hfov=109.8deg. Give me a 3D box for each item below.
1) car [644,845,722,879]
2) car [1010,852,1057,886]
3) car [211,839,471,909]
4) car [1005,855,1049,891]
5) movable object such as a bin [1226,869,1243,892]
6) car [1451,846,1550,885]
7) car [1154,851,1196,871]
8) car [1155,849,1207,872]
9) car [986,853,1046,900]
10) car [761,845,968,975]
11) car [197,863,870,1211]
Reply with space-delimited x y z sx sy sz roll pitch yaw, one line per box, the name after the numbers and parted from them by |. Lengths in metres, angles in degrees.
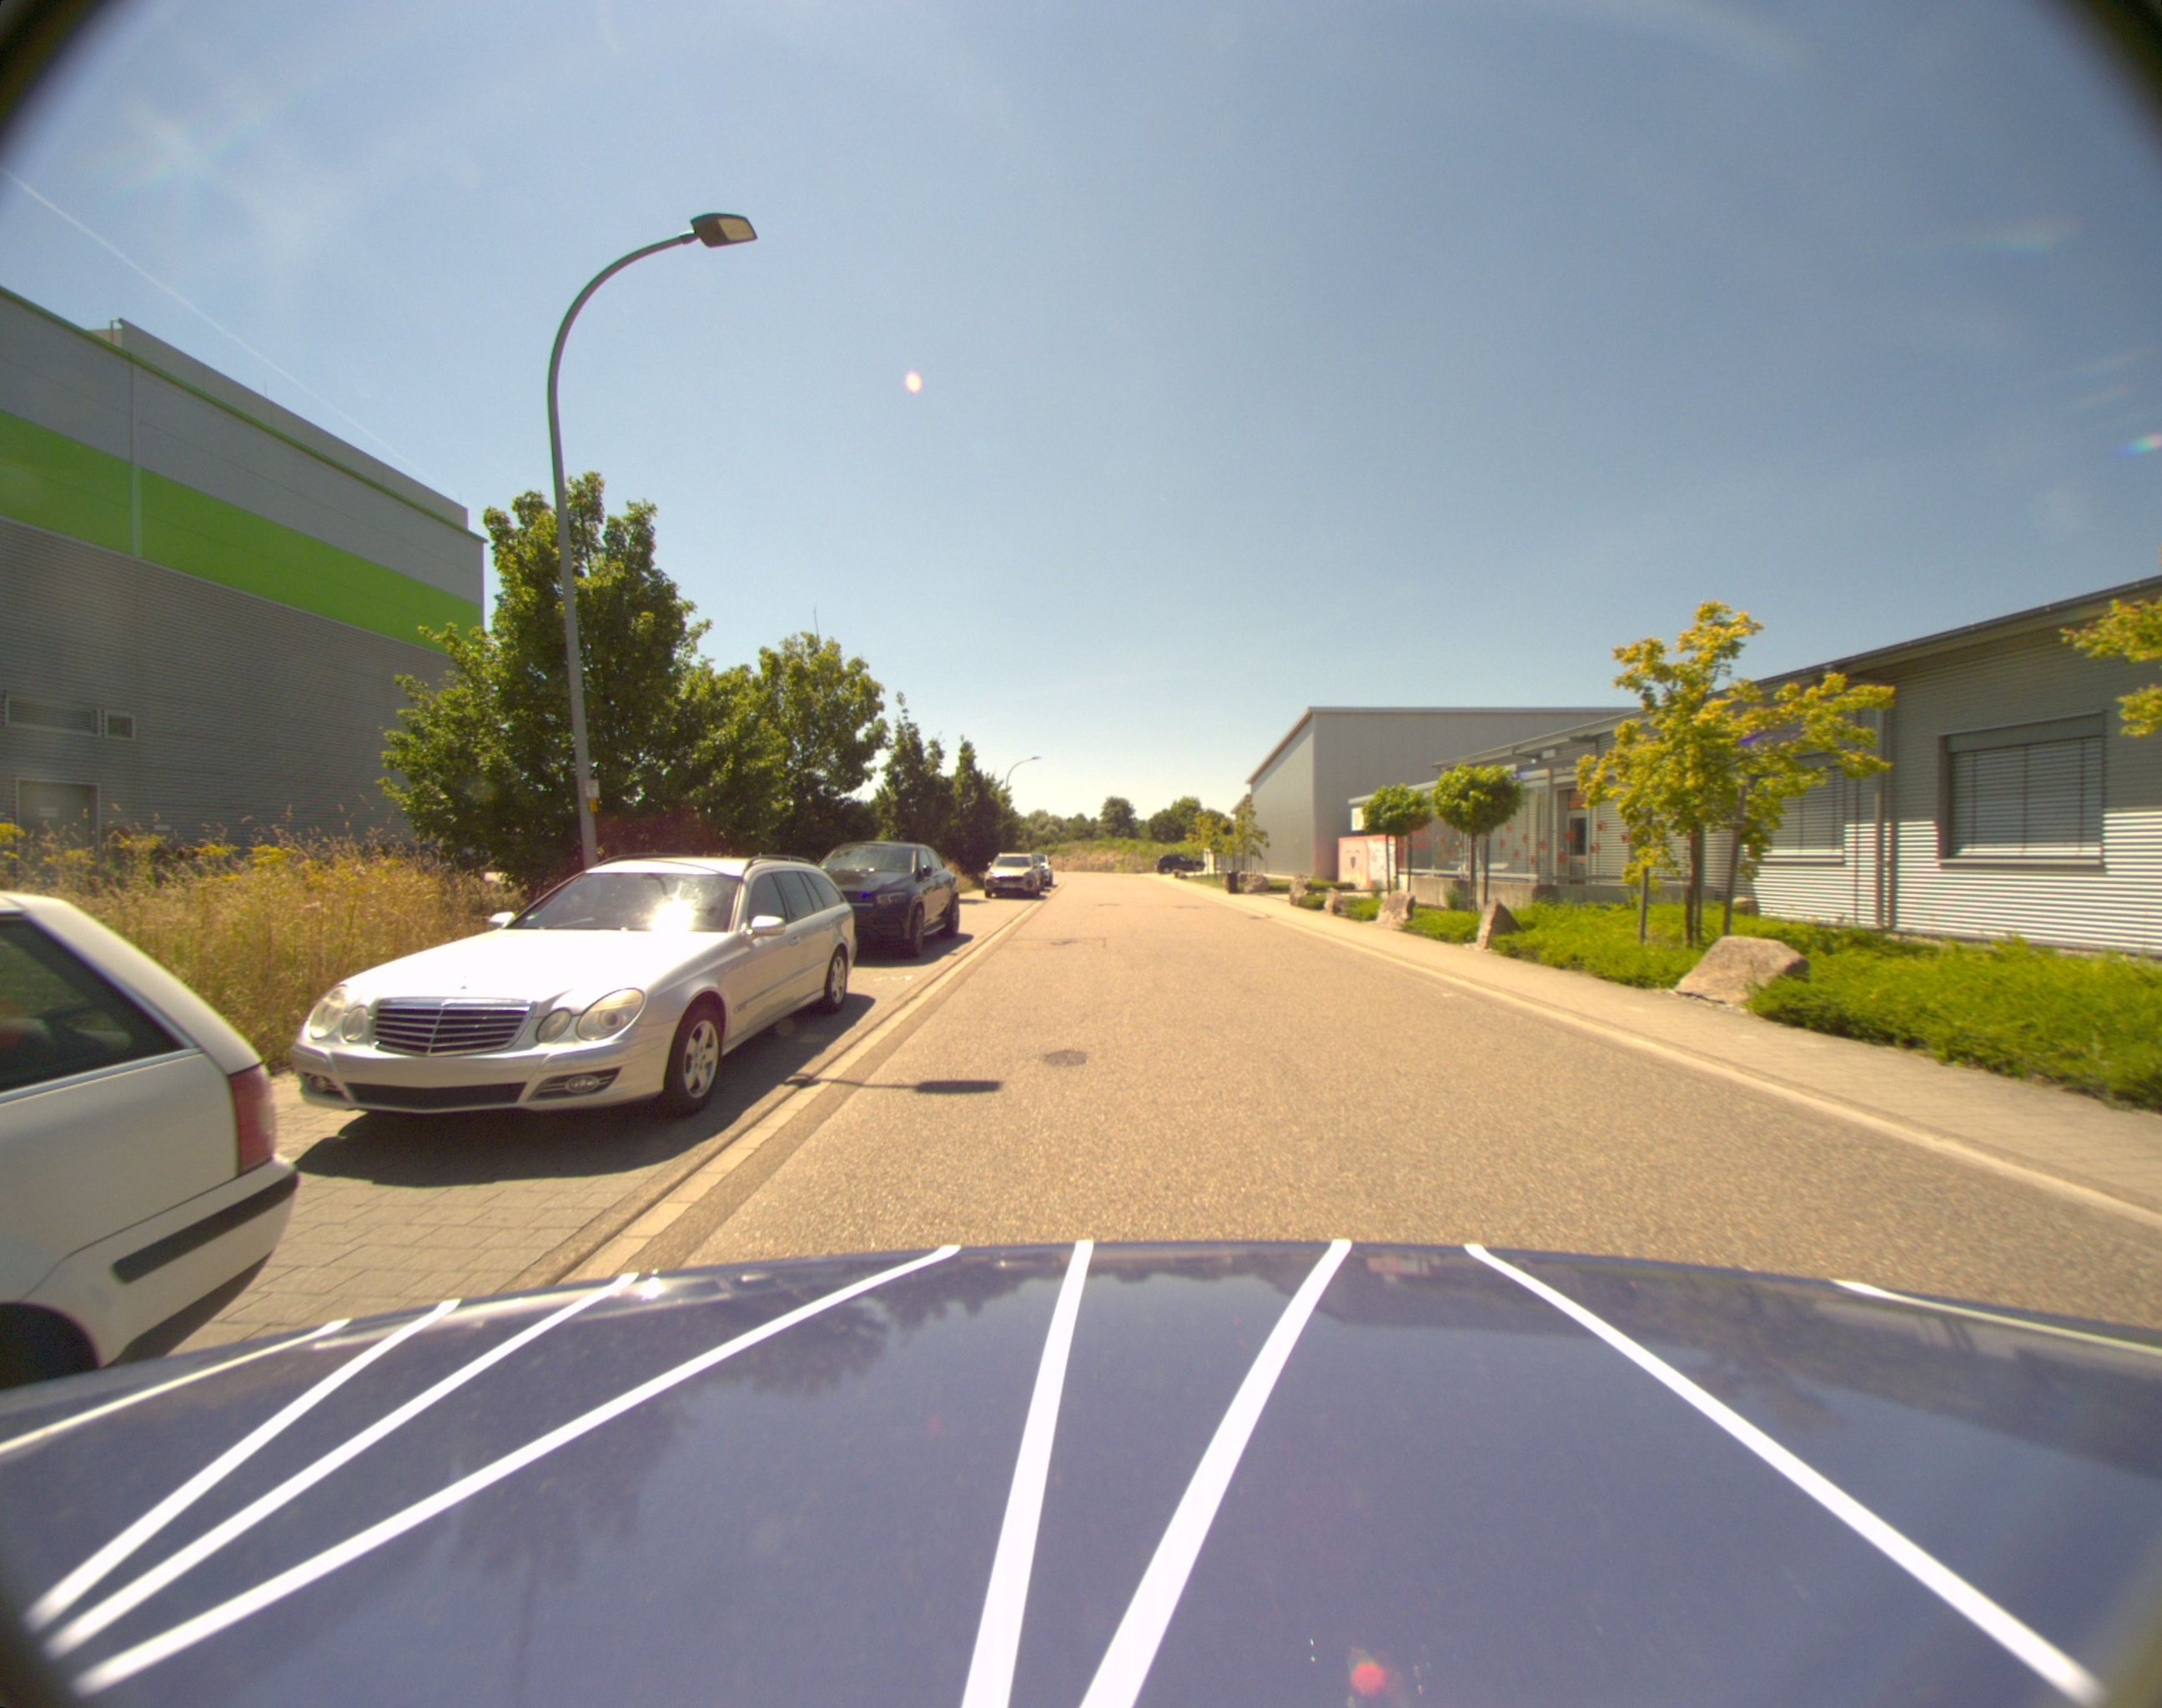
-22.331 0.474 42.833 1.998 1.775 4.402 0 -1 1 | car
-2.506 0.776 41.502 2.149 1.688 4.785 2 0 1 | car
-17.663 0.418 18.520 1.998 1.490 4.401 0 0 1 | car
-2.491 0.853 35.910 1.909 1.520 4.628 1 0 -3 | car
6.314 1.092 31.235 0.572 0.944 0.512 -1 1 -5 | movable object such as a bin
18.446 0.491 33.618 1.912 1.575 3.998 -1 0 -5 | car
8.436 0.645 68.216 3.369 1.453 1.781 -5 1 -2 | car
8.671 0.565 65.962 4.172 1.649 1.781 -5 1 1 | car
-2.407 0.797 29.008 1.809 1.626 4.458 2 0 1 | car
-3.252 0.747 12.479 1.953 1.691 4.545 2 0 1 | car
-3.125 0.866 5.819 1.809 1.474 4.772 1 0 -2 | car
